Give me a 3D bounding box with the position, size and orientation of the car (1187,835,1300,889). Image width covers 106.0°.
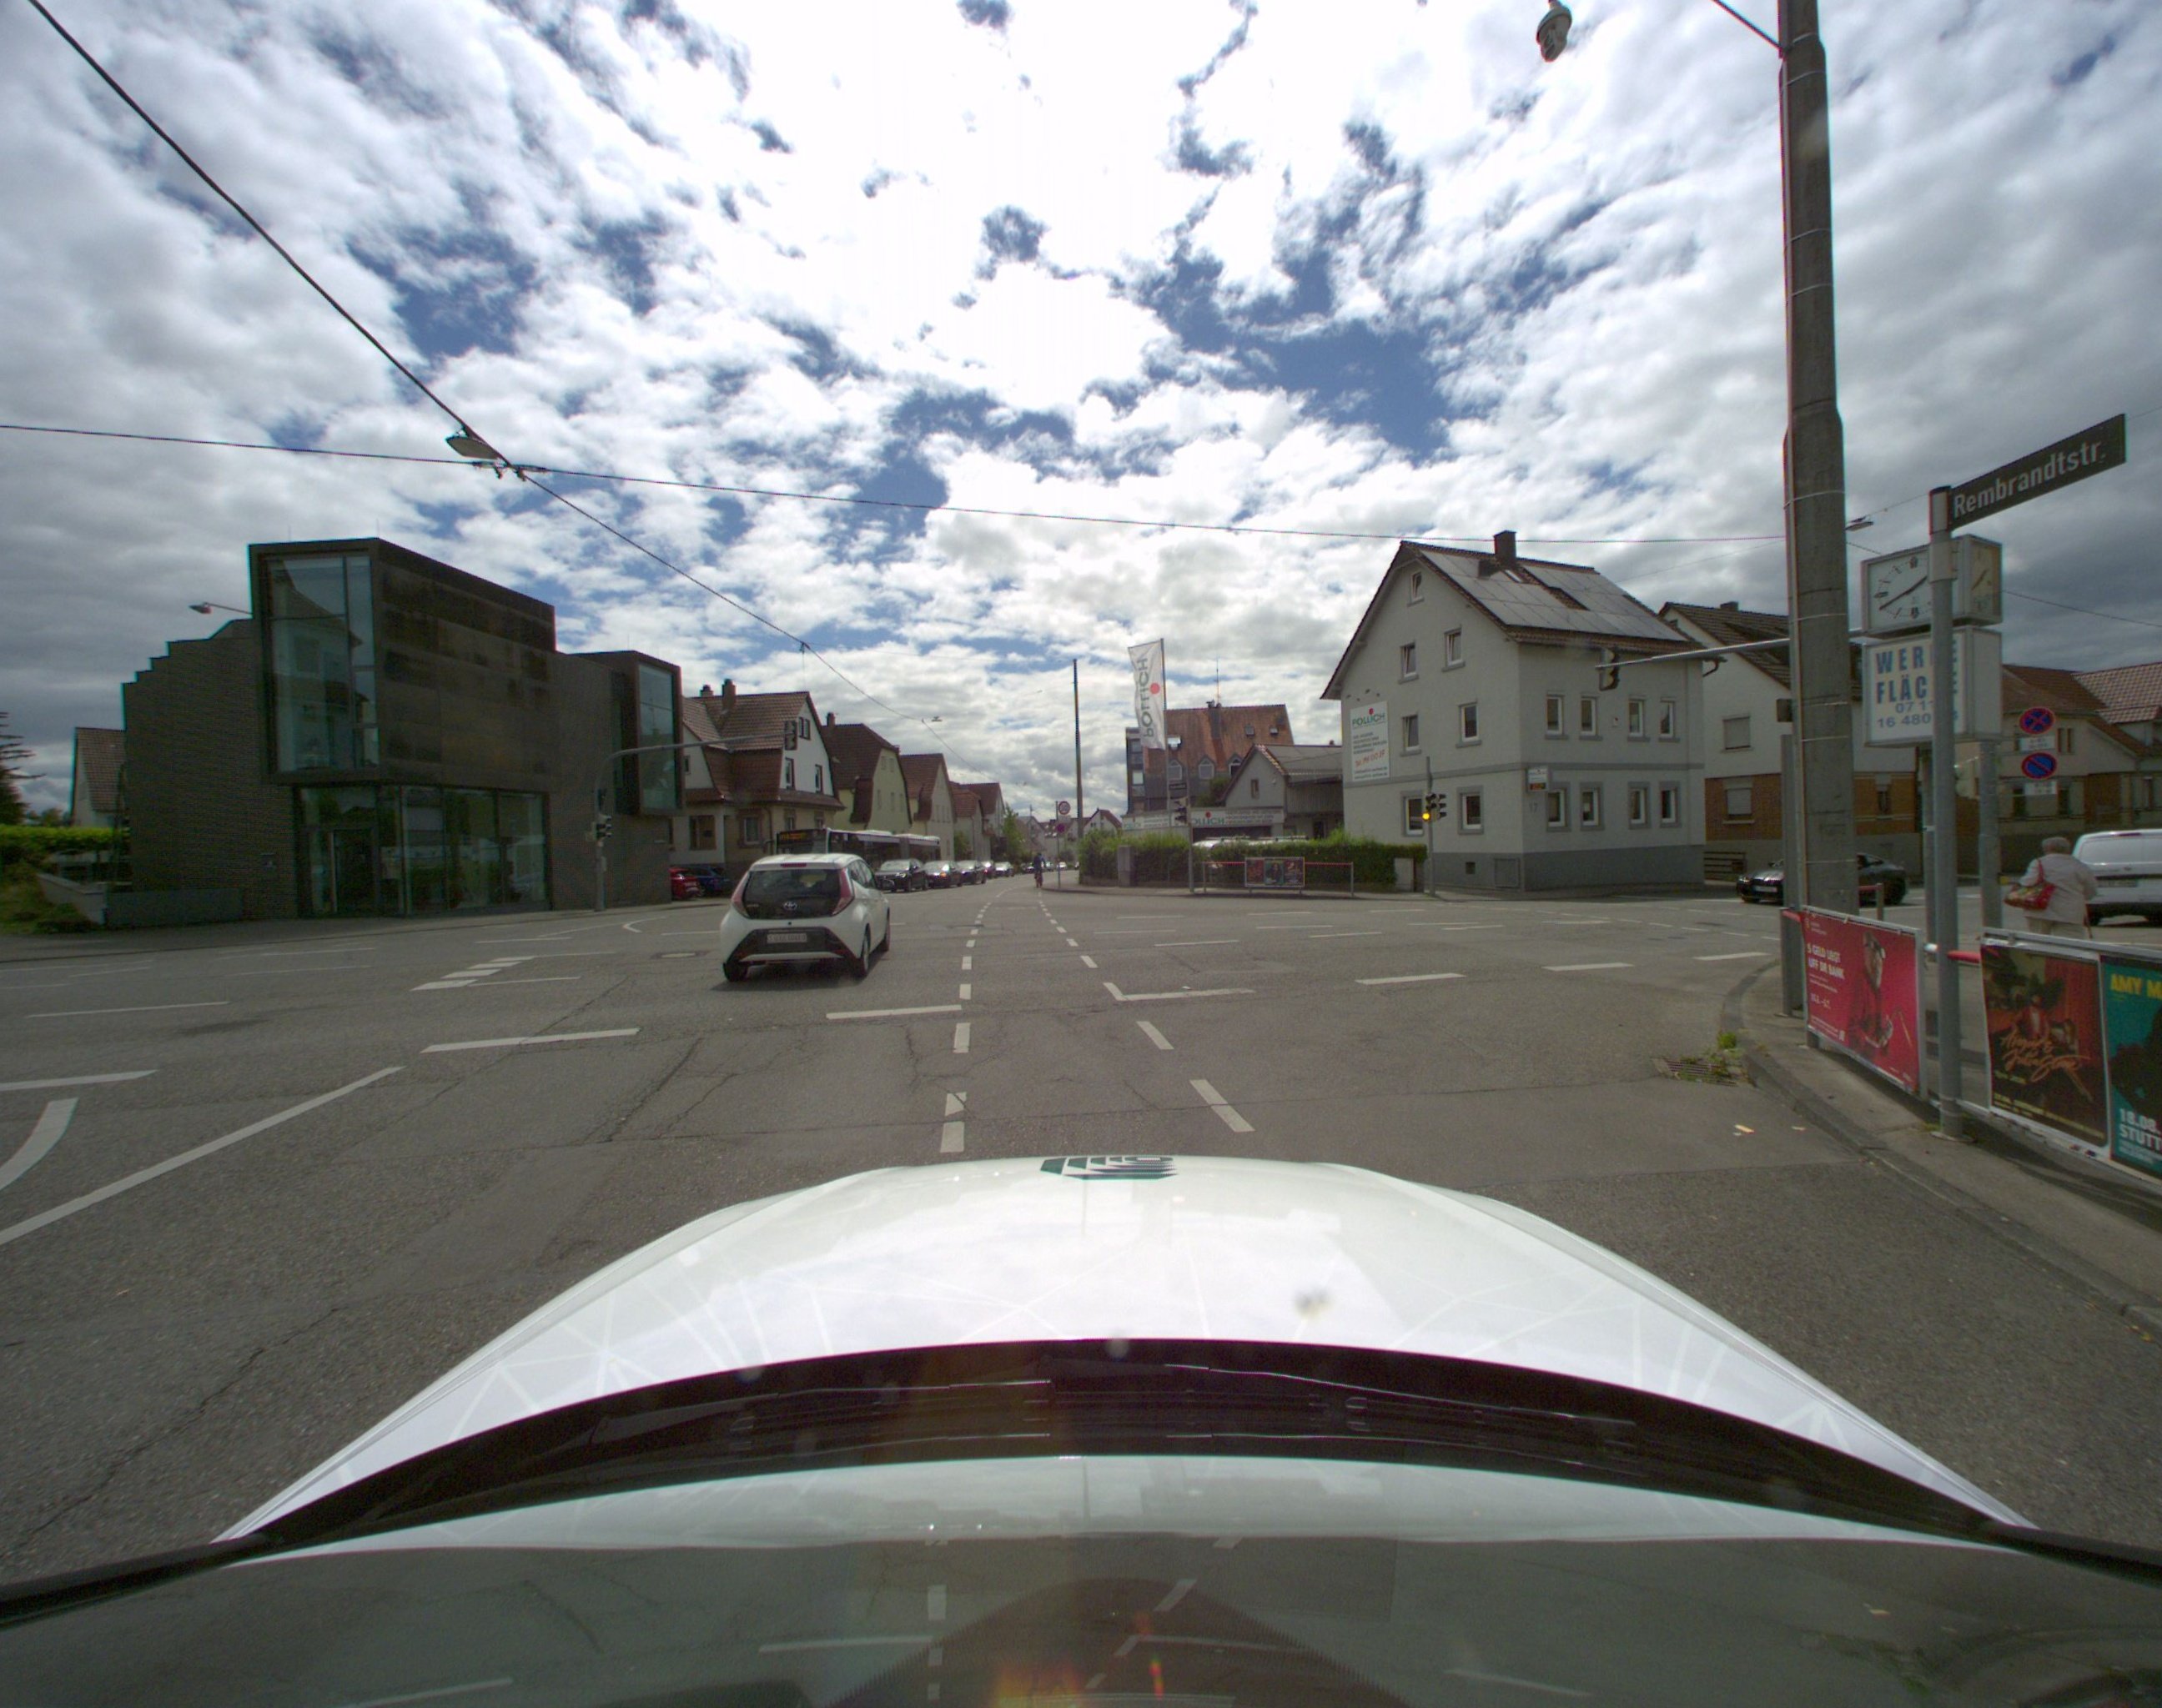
[{"bbox_3d":[6.496,0.307,32.604,4.000,2.013,1.987,-1,0,-20],"label":"car"}]

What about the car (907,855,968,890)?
[{"bbox_3d":[-7.333,0.911,42.072,1.983,1.640,4.191,-1,0,6],"label":"car"}]

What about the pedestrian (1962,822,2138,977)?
[{"bbox_3d":[10.846,0.503,9.162,0.830,1.638,0.875,-2,-2,5],"label":"pedestrian"}]

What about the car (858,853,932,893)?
[{"bbox_3d":[-8.264,0.804,36.592,1.983,1.640,4.007,-1,0,6],"label":"car"}]

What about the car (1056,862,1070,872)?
[{"bbox_3d":[-3.216,2.400,147.662,1.983,1.640,4.007,-1,0,6],"label":"car"}]

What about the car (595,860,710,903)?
[{"bbox_3d":[-18.963,1.189,36.193,3.971,1.640,2.001,2,0,2],"label":"car"}]

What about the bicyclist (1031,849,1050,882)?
[{"bbox_3d":[-2.047,0.557,41.029,0.840,1.614,1.080,-1,0,-7],"label":"bicyclist"}]

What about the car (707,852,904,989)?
[{"bbox_3d":[-3.441,0.734,10.836,1.736,1.460,3.524,-1,0,-7],"label":"car"}]

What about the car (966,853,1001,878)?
[{"bbox_3d":[-8.371,0.964,70.357,1.982,2.013,4.010,-1,0,9],"label":"car"}]

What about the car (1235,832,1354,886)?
[{"bbox_3d":[8.242,0.170,31.503,4.001,1.948,1.986,-1,0,-21],"label":"car"}]

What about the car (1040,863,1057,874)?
[{"bbox_3d":[-4.977,2.194,124.296,1.983,1.640,4.007,-1,0,6],"label":"car"}]

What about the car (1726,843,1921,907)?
[{"bbox_3d":[19.619,0.496,21.522,4.620,1.457,1.986,-1,2,-22],"label":"car"}]

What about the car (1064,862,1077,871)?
[{"bbox_3d":[-2.027,2.476,157.186,1.983,1.640,4.007,-1,0,6],"label":"car"}]

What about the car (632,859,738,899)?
[{"bbox_3d":[-18.805,1.168,38.809,3.971,1.684,2.001,2,0,2],"label":"car"}]

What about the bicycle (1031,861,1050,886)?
[{"bbox_3d":[-2.041,0.957,41.028,0.831,1.164,2.187,-1,0,-6],"label":"bicycle"}]

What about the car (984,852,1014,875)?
[{"bbox_3d":[-7.681,0.881,76.967,1.983,2.013,4.008,-1,0,7],"label":"car"}]

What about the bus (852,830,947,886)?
[{"bbox_3d":[-10.438,0.196,47.991,2.765,2.914,9.203,-1,0,5],"label":"bus"}]

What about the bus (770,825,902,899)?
[{"bbox_3d":[-11.284,0.324,38.691,2.765,3.060,9.203,-1,0,5],"label":"bus"}]

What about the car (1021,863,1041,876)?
[{"bbox_3d":[-6.755,2.089,109.385,1.983,1.640,4.007,-1,0,6],"label":"car"}]

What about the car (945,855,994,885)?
[{"bbox_3d":[-6.668,0.925,49.043,1.983,1.640,4.007,-1,0,6],"label":"car"}]

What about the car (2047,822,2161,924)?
[{"bbox_3d":[21.058,0.375,15.565,4.491,1.794,1.904,1,-2,-20],"label":"car"}]
